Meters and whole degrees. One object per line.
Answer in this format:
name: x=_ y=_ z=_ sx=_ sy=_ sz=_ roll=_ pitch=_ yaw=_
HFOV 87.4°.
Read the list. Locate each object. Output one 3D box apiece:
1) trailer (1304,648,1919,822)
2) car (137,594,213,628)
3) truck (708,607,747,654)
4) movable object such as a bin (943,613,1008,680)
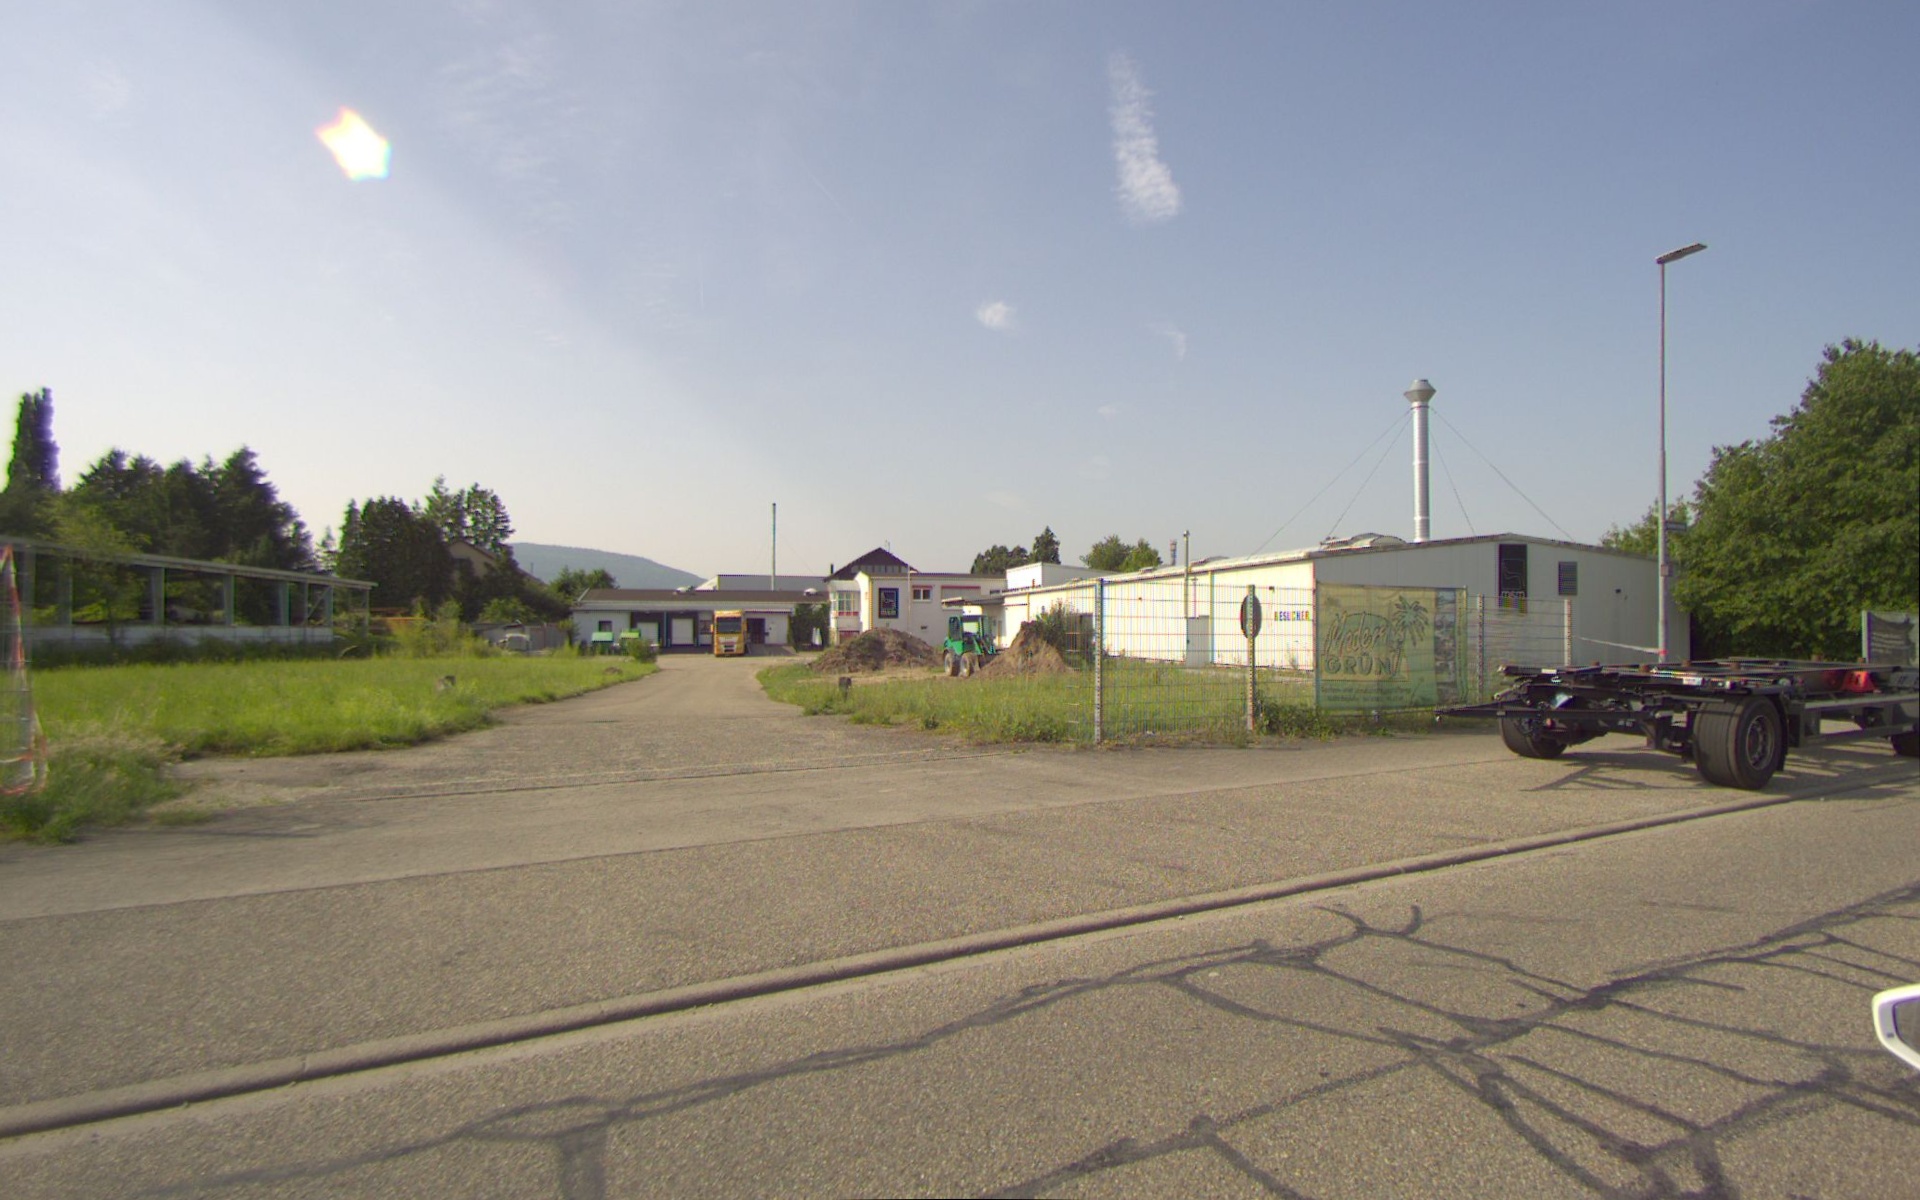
trailer: x=8.043 y=1.217 z=11.303 sx=9.256 sy=1.200 sz=2.569 roll=1 pitch=0 yaw=-31
car: x=-44.270 y=0.667 z=56.726 sx=1.715 sy=1.831 sz=3.896 roll=0 pitch=-2 yaw=-10
truck: x=-20.444 y=2.744 z=88.173 sx=2.853 sy=3.938 sz=7.562 roll=1 pitch=-2 yaw=-17
movable object such as a bin: x=0.549 y=1.831 z=39.681 sx=2.209 sy=2.488 sz=4.304 roll=0 pitch=-2 yaw=-4
